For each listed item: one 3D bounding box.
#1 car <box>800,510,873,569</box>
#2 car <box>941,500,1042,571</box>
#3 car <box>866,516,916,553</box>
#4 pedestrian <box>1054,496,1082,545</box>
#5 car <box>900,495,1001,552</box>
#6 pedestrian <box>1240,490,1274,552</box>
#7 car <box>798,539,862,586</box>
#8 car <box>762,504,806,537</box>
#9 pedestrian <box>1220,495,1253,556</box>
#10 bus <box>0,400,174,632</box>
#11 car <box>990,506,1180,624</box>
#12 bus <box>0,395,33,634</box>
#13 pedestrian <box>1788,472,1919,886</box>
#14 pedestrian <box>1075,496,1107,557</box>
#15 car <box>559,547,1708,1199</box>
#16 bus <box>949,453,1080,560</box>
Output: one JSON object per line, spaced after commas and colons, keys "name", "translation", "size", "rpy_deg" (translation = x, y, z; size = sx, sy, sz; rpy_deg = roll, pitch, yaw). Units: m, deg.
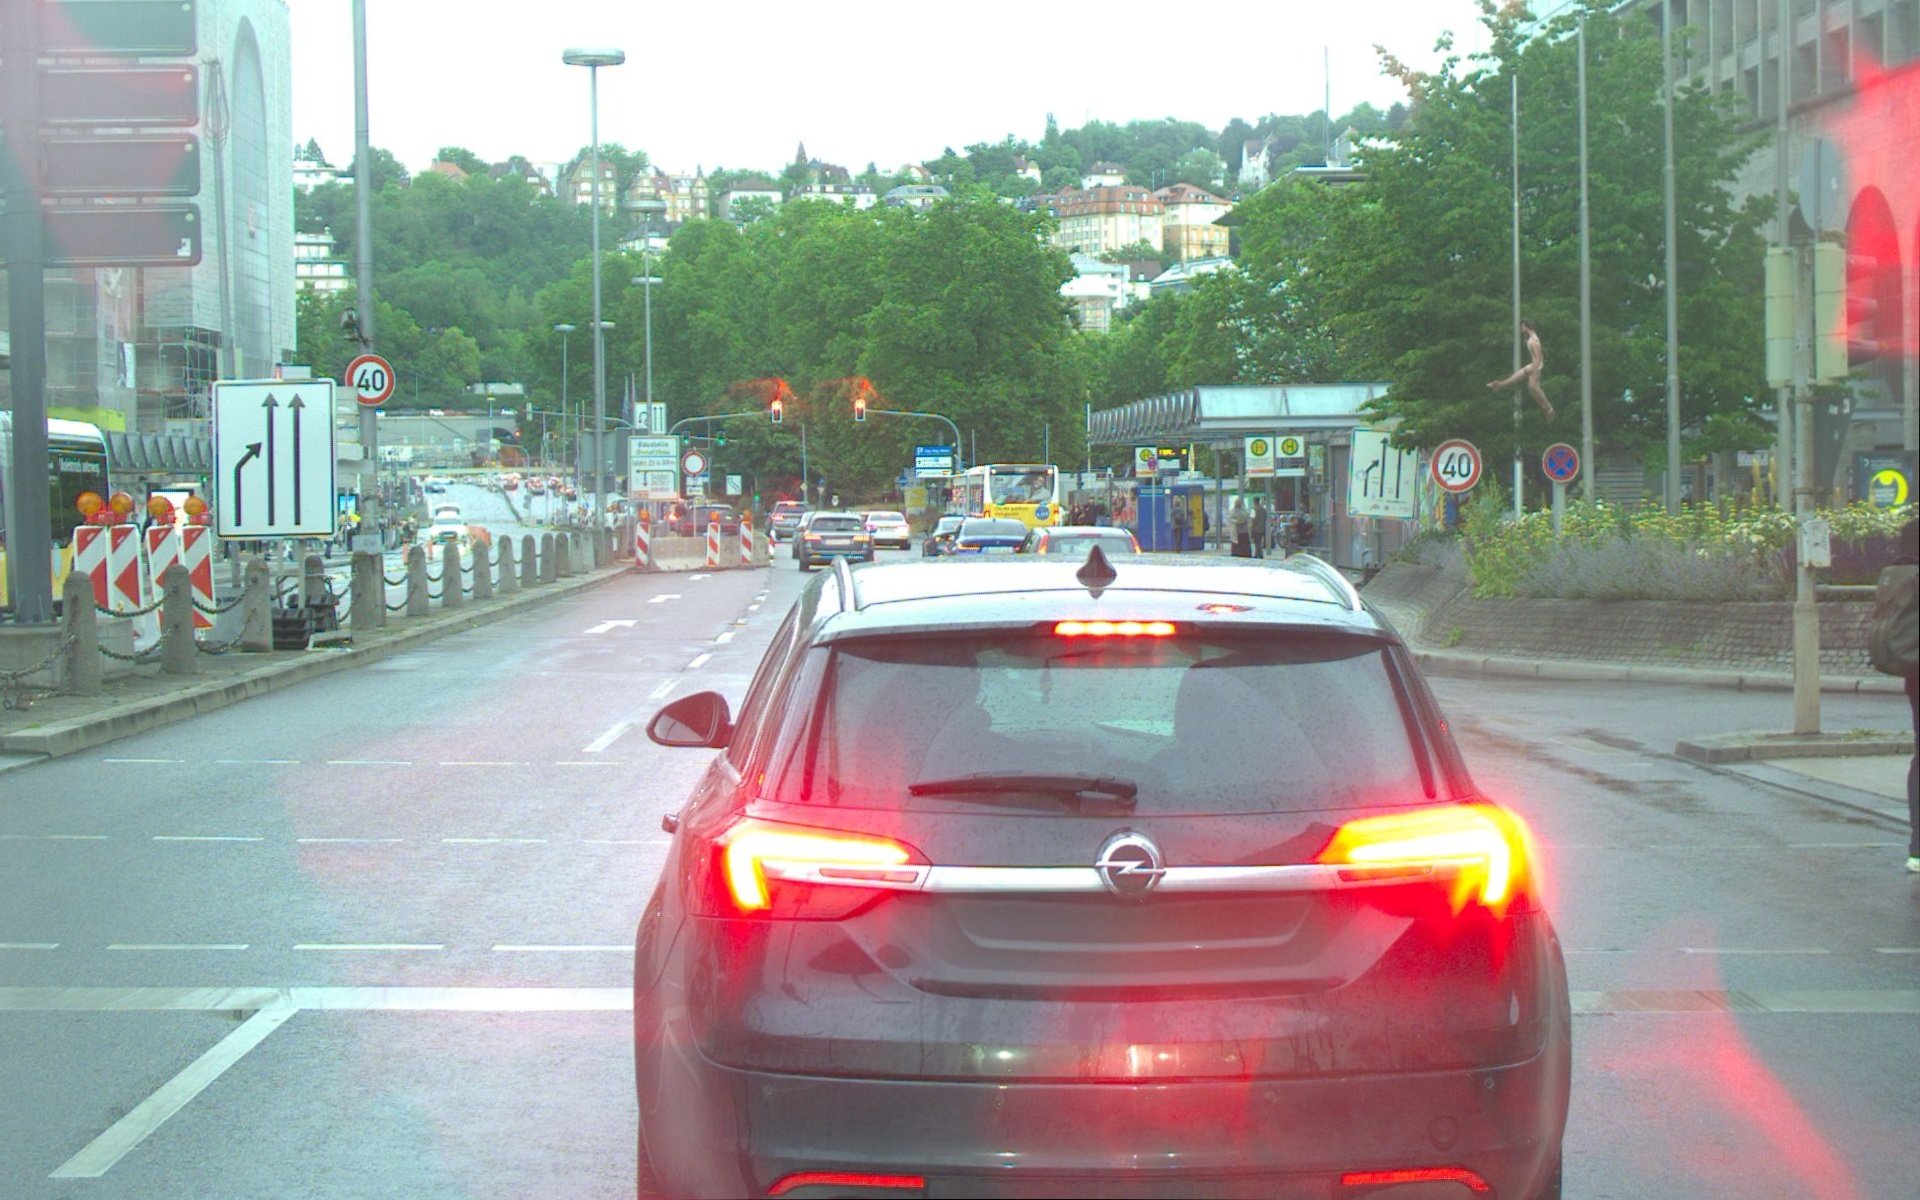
{"name": "car", "translation": [-3.066, -1.501, 85.594], "size": [1.753, 1.393, 4.538], "rpy_deg": [1, 1, -2]}
{"name": "car", "translation": [0.616, -1.314, 70.726], "size": [1.753, 1.393, 4.649], "rpy_deg": [1, 1, -3]}
{"name": "car", "translation": [-2.625, -2.483, 130.862], "size": [1.845, 1.393, 3.564], "rpy_deg": [1, 1, -1]}
{"name": "pedestrian", "translation": [4.767, -3.512, 152.255], "size": [1.199, 2.141, 1.228], "rpy_deg": [1, 1, 1]}
{"name": "car", "translation": [-0.275, -1.935, 87.989], "size": [1.752, 1.393, 4.403], "rpy_deg": [1, 1, -11]}
{"name": "pedestrian", "translation": [8.137, -2.149, 94.148], "size": [0.763, 1.684, 0.825], "rpy_deg": [1, 1, -5]}
{"name": "car", "translation": [-3.973, -1.154, 105.731], "size": [1.845, 1.393, 3.564], "rpy_deg": [1, 1, -1]}
{"name": "car", "translation": [-7.669, -3.445, 149.916], "size": [1.759, 1.393, 3.564], "rpy_deg": [1, 1, -1]}
{"name": "pedestrian", "translation": [7.670, -2.062, 95.468], "size": [0.763, 1.684, 0.825], "rpy_deg": [1, 1, -5]}
{"name": "bus", "translation": [-15.856, -1.391, 58.542], "size": [2.668, 3.589, 10.212], "rpy_deg": [1, 1, -1]}
{"name": "car", "translation": [1.535, -0.446, 43.392], "size": [1.845, 1.393, 3.668], "rpy_deg": [1, 1, -7]}
{"name": "bus", "translation": [-15.728, -1.256, 48.357], "size": [2.668, 3.589, 10.240], "rpy_deg": [1, 1, -1]}
{"name": "pedestrian", "translation": [4.261, 0.316, 14.929], "size": [1.096, 1.745, 0.654], "rpy_deg": [-2, 1, -3]}
{"name": "pedestrian", "translation": [5.279, -2.939, 138.468], "size": [1.199, 2.427, 1.228], "rpy_deg": [1, 1, 1]}
{"name": "car", "translation": [0.246, 0.641, 7.654], "size": [1.874, 1.481, 4.000], "rpy_deg": [1, 1, -1]}
{"name": "bus", "translation": [1.778, -3.192, 120.882], "size": [4.173, 3.457, 14.655], "rpy_deg": [1, 1, -1]}
